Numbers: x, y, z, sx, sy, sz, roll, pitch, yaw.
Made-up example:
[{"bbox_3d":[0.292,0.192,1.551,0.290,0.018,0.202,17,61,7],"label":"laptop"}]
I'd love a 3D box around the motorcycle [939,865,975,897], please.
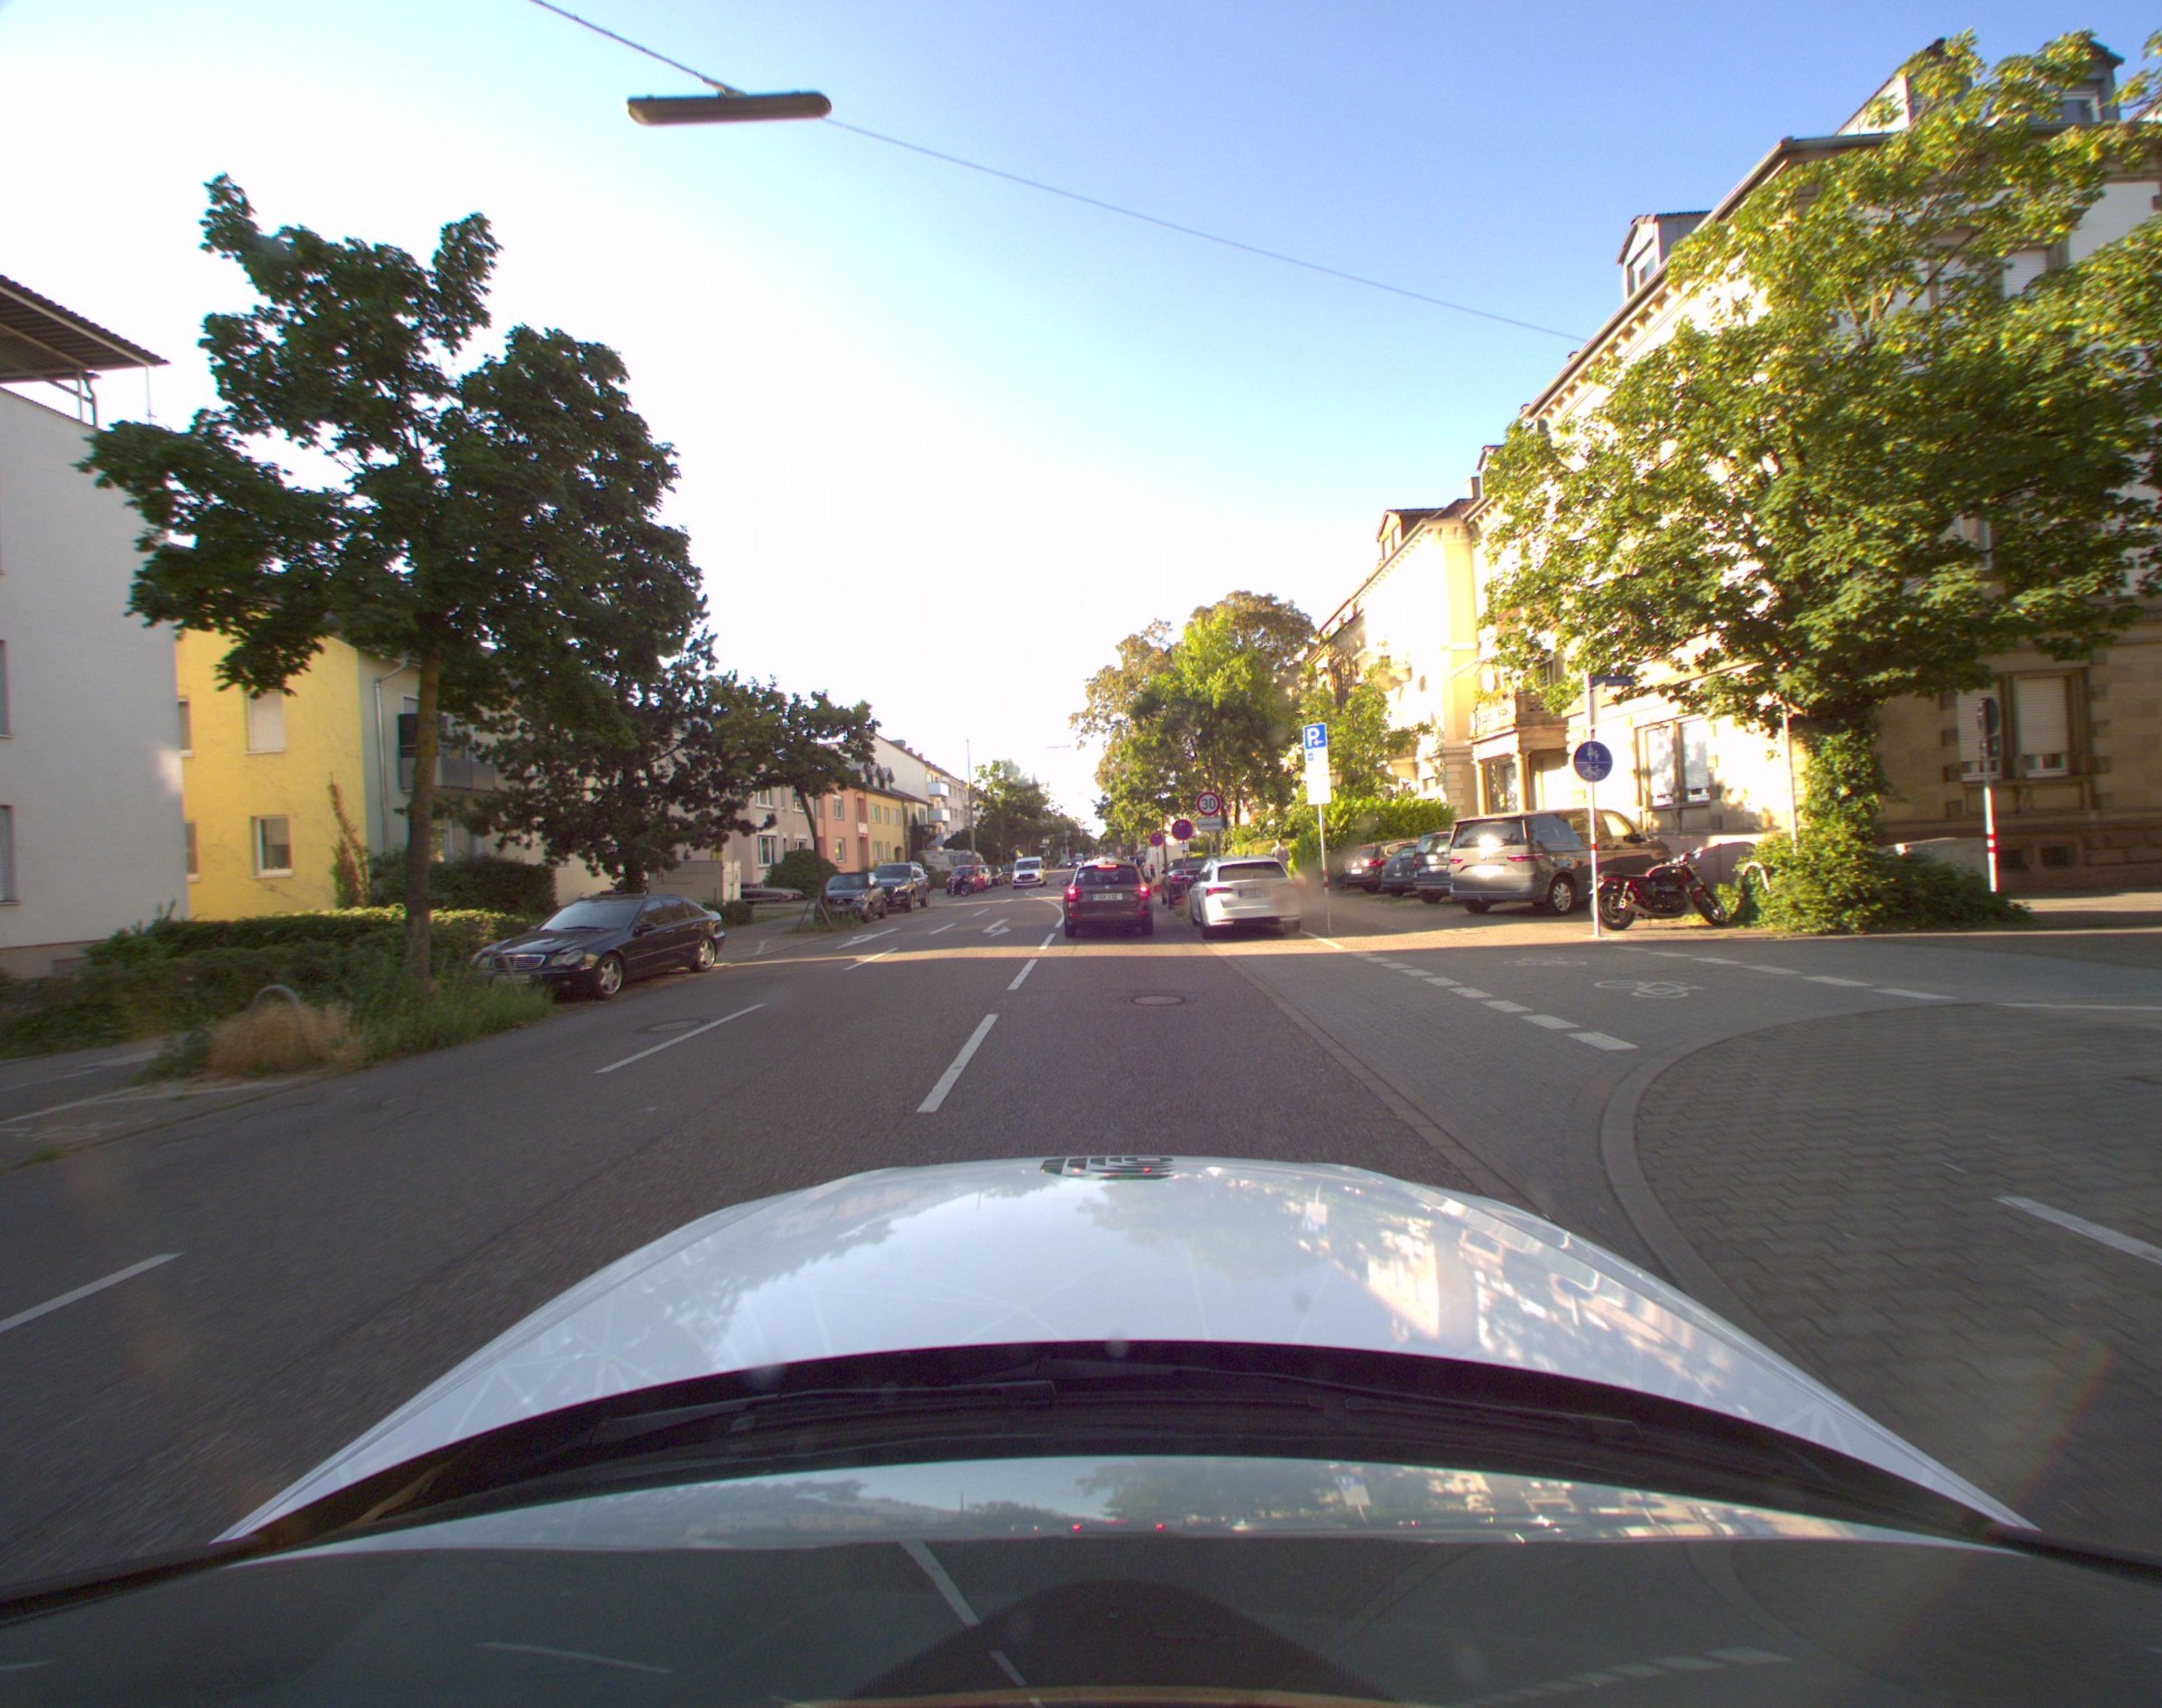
[{"bbox_3d":[-6.230,1.367,40.979,0.771,1.512,2.006,-3,0,-41],"label":"motorcycle"}]

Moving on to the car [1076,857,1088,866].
[{"bbox_3d":[0.146,1.403,148.509,1.986,1.508,4.002,-3,0,2],"label":"car"}]

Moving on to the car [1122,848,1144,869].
[{"bbox_3d":[4.816,0.411,75.523,1.724,1.815,3.950,-3,0,0],"label":"car"}]

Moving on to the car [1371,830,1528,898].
[{"bbox_3d":[9.789,0.247,21.651,3.813,1.525,1.501,-3,0,-21],"label":"car"}]

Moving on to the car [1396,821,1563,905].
[{"bbox_3d":[9.350,0.176,19.044,3.822,1.679,1.498,-3,0,-28],"label":"car"}]

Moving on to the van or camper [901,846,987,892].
[{"bbox_3d":[-12.987,1.389,77.301,7.617,3.874,2.000,-3,0,-1],"label":"van or camper"}]

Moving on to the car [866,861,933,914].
[{"bbox_3d":[-6.758,1.212,30.654,1.501,1.757,3.695,-3,0,2],"label":"car"}]

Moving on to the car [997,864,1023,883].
[{"bbox_3d":[-5.847,1.584,67.487,1.658,1.432,3.276,-3,0,1],"label":"car"}]

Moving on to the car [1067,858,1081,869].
[{"bbox_3d":[-1.166,1.505,130.750,1.986,1.508,4.002,-3,0,2],"label":"car"}]

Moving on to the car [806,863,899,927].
[{"bbox_3d":[-7.179,1.246,25.964,1.744,1.740,3.592,-3,0,2],"label":"car"}]

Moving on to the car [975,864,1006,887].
[{"bbox_3d":[-6.207,1.461,56.156,1.658,1.432,3.276,-3,0,1],"label":"car"}]

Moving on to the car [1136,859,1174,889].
[{"bbox_3d":[4.163,1.081,46.239,1.724,1.493,3.950,-3,0,0],"label":"car"}]

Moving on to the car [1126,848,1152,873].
[{"bbox_3d":[4.464,0.462,63.030,1.724,1.815,3.950,-3,0,0],"label":"car"}]

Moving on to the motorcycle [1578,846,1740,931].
[{"bbox_3d":[8.565,0.493,12.095,2.047,1.125,0.525,-3,0,-4],"label":"motorcycle"}]

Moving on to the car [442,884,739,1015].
[{"bbox_3d":[-7.297,1.322,12.774,1.747,1.420,4.428,-3,0,2],"label":"car"}]

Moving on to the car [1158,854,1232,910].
[{"bbox_3d":[3.307,0.769,24.262,1.813,1.413,4.115,-3,0,4],"label":"car"}]

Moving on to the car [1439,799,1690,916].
[{"bbox_3d":[9.321,0.016,15.661,4.557,1.892,1.898,-3,0,-26],"label":"car"}]

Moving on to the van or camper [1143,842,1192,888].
[{"bbox_3d":[4.172,0.486,39.725,1.986,2.013,4.002,-3,0,2],"label":"van or camper"}]

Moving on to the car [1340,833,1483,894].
[{"bbox_3d":[9.651,0.249,23.778,3.813,1.525,1.501,-3,0,-21],"label":"car"}]

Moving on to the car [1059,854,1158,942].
[{"bbox_3d":[0.575,0.808,16.820,1.723,1.493,3.953,-3,0,2],"label":"car"}]

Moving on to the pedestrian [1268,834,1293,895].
[{"bbox_3d":[6.015,0.317,24.588,0.532,1.794,0.688,-3,0,3],"label":"pedestrian"}]

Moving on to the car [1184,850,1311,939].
[{"bbox_3d":[3.076,0.680,15.833,1.813,1.413,4.115,-3,0,4],"label":"car"}]

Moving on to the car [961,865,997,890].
[{"bbox_3d":[-6.434,1.462,51.613,1.658,1.432,3.276,-3,0,1],"label":"car"}]

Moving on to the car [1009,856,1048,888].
[{"bbox_3d":[-3.089,1.039,48.940,1.870,1.757,4.180,-3,0,2],"label":"car"}]

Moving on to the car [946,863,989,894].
[{"bbox_3d":[-6.356,1.361,45.920,1.658,1.512,4.180,-3,0,2],"label":"car"}]

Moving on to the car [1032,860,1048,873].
[{"bbox_3d":[-4.887,1.453,97.773,1.658,1.432,3.276,-3,0,1],"label":"car"}]

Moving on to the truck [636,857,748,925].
[{"bbox_3d":[-13.097,1.214,27.530,2.903,2.093,1.546,-3,0,1],"label":"truck"}]

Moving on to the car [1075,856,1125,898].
[{"bbox_3d":[0.708,0.882,32.937,1.725,1.493,3.947,-3,0,-2],"label":"car"}]
